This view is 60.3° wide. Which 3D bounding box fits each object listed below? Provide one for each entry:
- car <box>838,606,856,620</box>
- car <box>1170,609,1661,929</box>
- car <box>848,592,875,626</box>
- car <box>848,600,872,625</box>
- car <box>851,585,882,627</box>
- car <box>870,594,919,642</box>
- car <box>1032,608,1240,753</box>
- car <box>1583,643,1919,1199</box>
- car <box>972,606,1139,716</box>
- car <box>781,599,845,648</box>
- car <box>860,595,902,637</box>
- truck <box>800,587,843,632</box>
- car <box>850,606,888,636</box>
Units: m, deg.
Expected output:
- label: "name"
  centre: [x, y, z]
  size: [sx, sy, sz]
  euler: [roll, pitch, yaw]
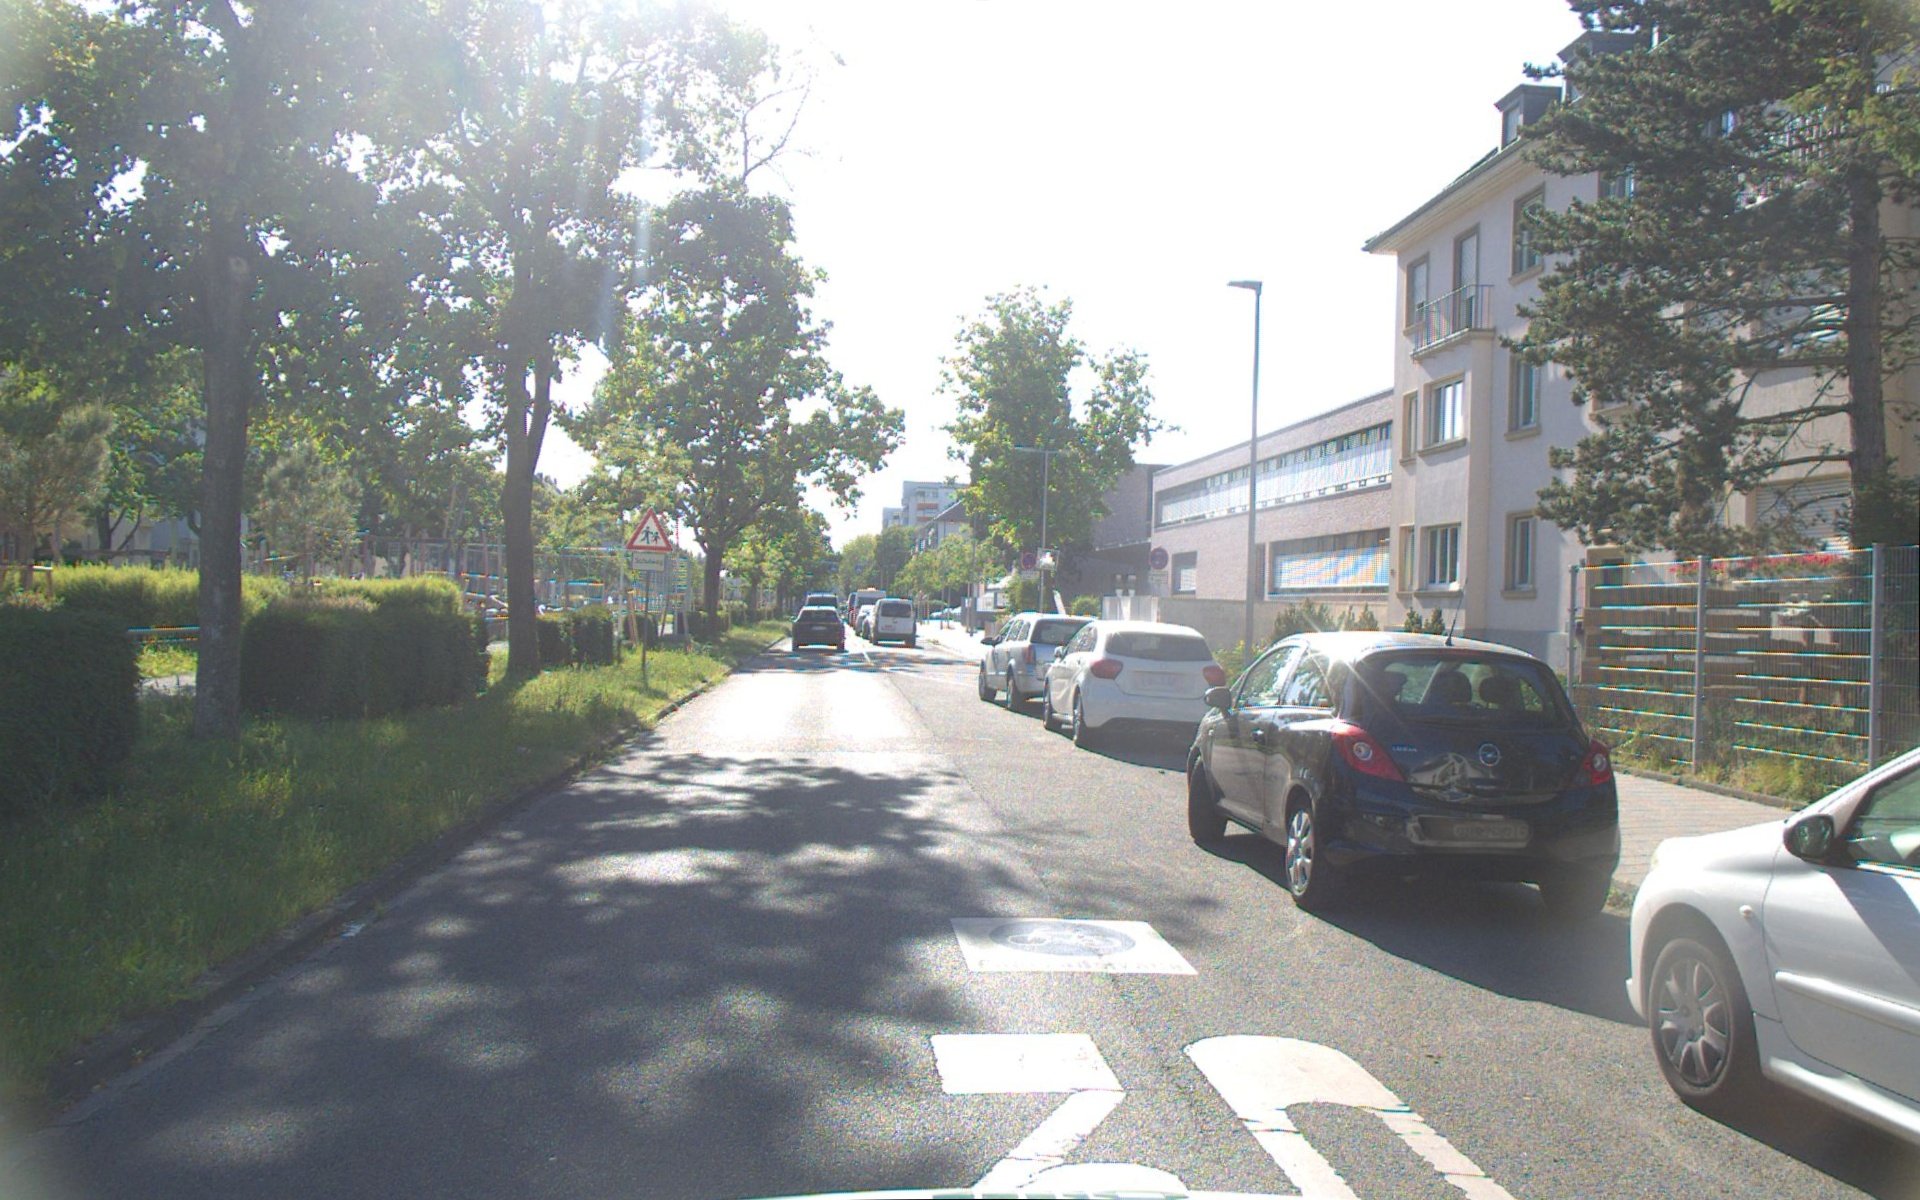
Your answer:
- label: "car"
  centre: [-11.426, 1.319, 166.957]
  size: [1.782, 1.382, 3.996]
  euler: [2, 0, -5]
- label: "car"
  centre: [2.524, 0.859, 10.150]
  size: [1.639, 1.520, 3.822]
  euler: [3, 0, -5]
- label: "car"
  centre: [-7.217, 0.654, 120.715]
  size: [1.782, 2.395, 3.996]
  euler: [2, 0, -5]
- label: "car"
  centre: [-8.028, 0.988, 132.702]
  size: [1.782, 1.867, 3.996]
  euler: [2, 0, -5]
- label: "car"
  centre: [-5.887, 0.384, 103.787]
  size: [1.782, 2.562, 3.996]
  euler: [2, 0, -5]
- label: "car"
  centre: [-2.695, 0.716, 67.390]
  size: [1.782, 1.862, 3.996]
  euler: [2, 0, -5]
- label: "car"
  centre: [2.038, 0.906, 20.284]
  size: [1.760, 1.520, 3.996]
  euler: [3, 0, -5]
- label: "car"
  centre: [3.290, 0.904, 4.217]
  size: [1.668, 1.423, 3.772]
  euler: [3, 0, -5]
- label: "car"
  centre: [1.430, 0.914, 26.385]
  size: [1.762, 1.520, 3.991]
  euler: [3, 0, -10]
- label: "car"
  centre: [-5.079, 0.786, 56.577]
  size: [1.956, 1.551, 4.748]
  euler: [1, 0, -7]
- label: "car"
  centre: [-3.739, 0.753, 77.718]
  size: [1.782, 1.862, 3.996]
  euler: [2, 0, -5]
- label: "truck"
  centre: [-6.676, 0.462, 79.709]
  size: [1.955, 2.072, 4.869]
  euler: [1, 0, -5]
- label: "car"
  centre: [-4.622, 1.060, 83.433]
  size: [1.782, 1.424, 3.996]
  euler: [2, 0, -5]
